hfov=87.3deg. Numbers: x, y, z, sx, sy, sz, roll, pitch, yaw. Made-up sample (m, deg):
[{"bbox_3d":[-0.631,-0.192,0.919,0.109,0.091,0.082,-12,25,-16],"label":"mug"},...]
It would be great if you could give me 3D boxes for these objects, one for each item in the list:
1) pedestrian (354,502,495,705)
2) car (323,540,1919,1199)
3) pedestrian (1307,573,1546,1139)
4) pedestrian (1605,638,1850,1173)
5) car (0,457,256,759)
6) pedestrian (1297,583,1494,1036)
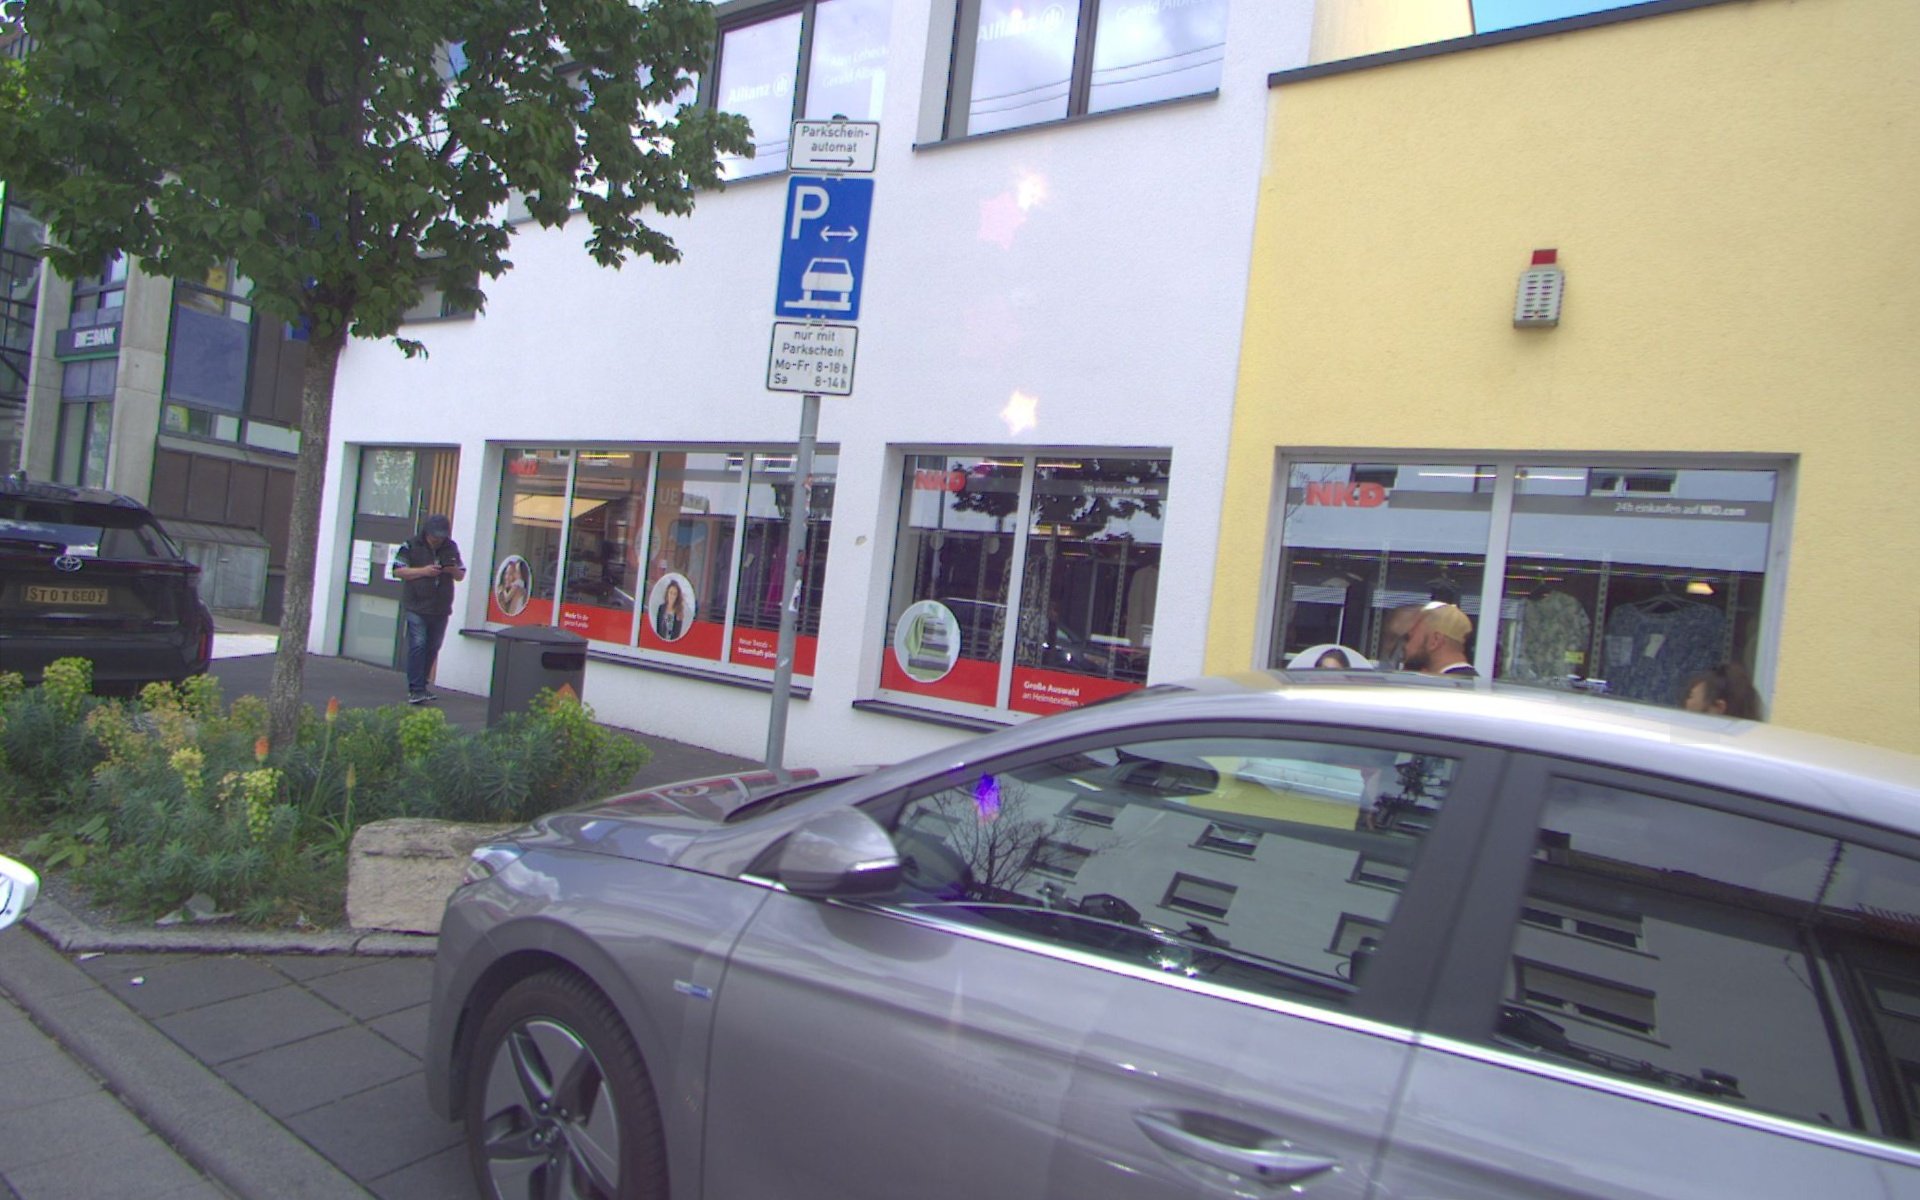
[{"bbox_3d":[-4.963,0.038,9.339,0.744,1.759,0.742,6,0,32],"label":"pedestrian"},{"bbox_3d":[0.789,0.870,2.076,4.282,1.492,1.725,6,-2,32],"label":"car"},{"bbox_3d":[1.763,0.881,3.772,0.566,1.862,0.589,6,-2,32],"label":"pedestrian"},{"bbox_3d":[3.016,1.129,4.015,0.566,1.862,0.589,6,-2,32],"label":"pedestrian"},{"bbox_3d":[-6.642,-0.095,6.615,4.041,1.594,1.725,6,-2,32],"label":"car"},{"bbox_3d":[2.011,0.902,4.616,0.566,1.862,0.589,6,-2,32],"label":"pedestrian"}]
